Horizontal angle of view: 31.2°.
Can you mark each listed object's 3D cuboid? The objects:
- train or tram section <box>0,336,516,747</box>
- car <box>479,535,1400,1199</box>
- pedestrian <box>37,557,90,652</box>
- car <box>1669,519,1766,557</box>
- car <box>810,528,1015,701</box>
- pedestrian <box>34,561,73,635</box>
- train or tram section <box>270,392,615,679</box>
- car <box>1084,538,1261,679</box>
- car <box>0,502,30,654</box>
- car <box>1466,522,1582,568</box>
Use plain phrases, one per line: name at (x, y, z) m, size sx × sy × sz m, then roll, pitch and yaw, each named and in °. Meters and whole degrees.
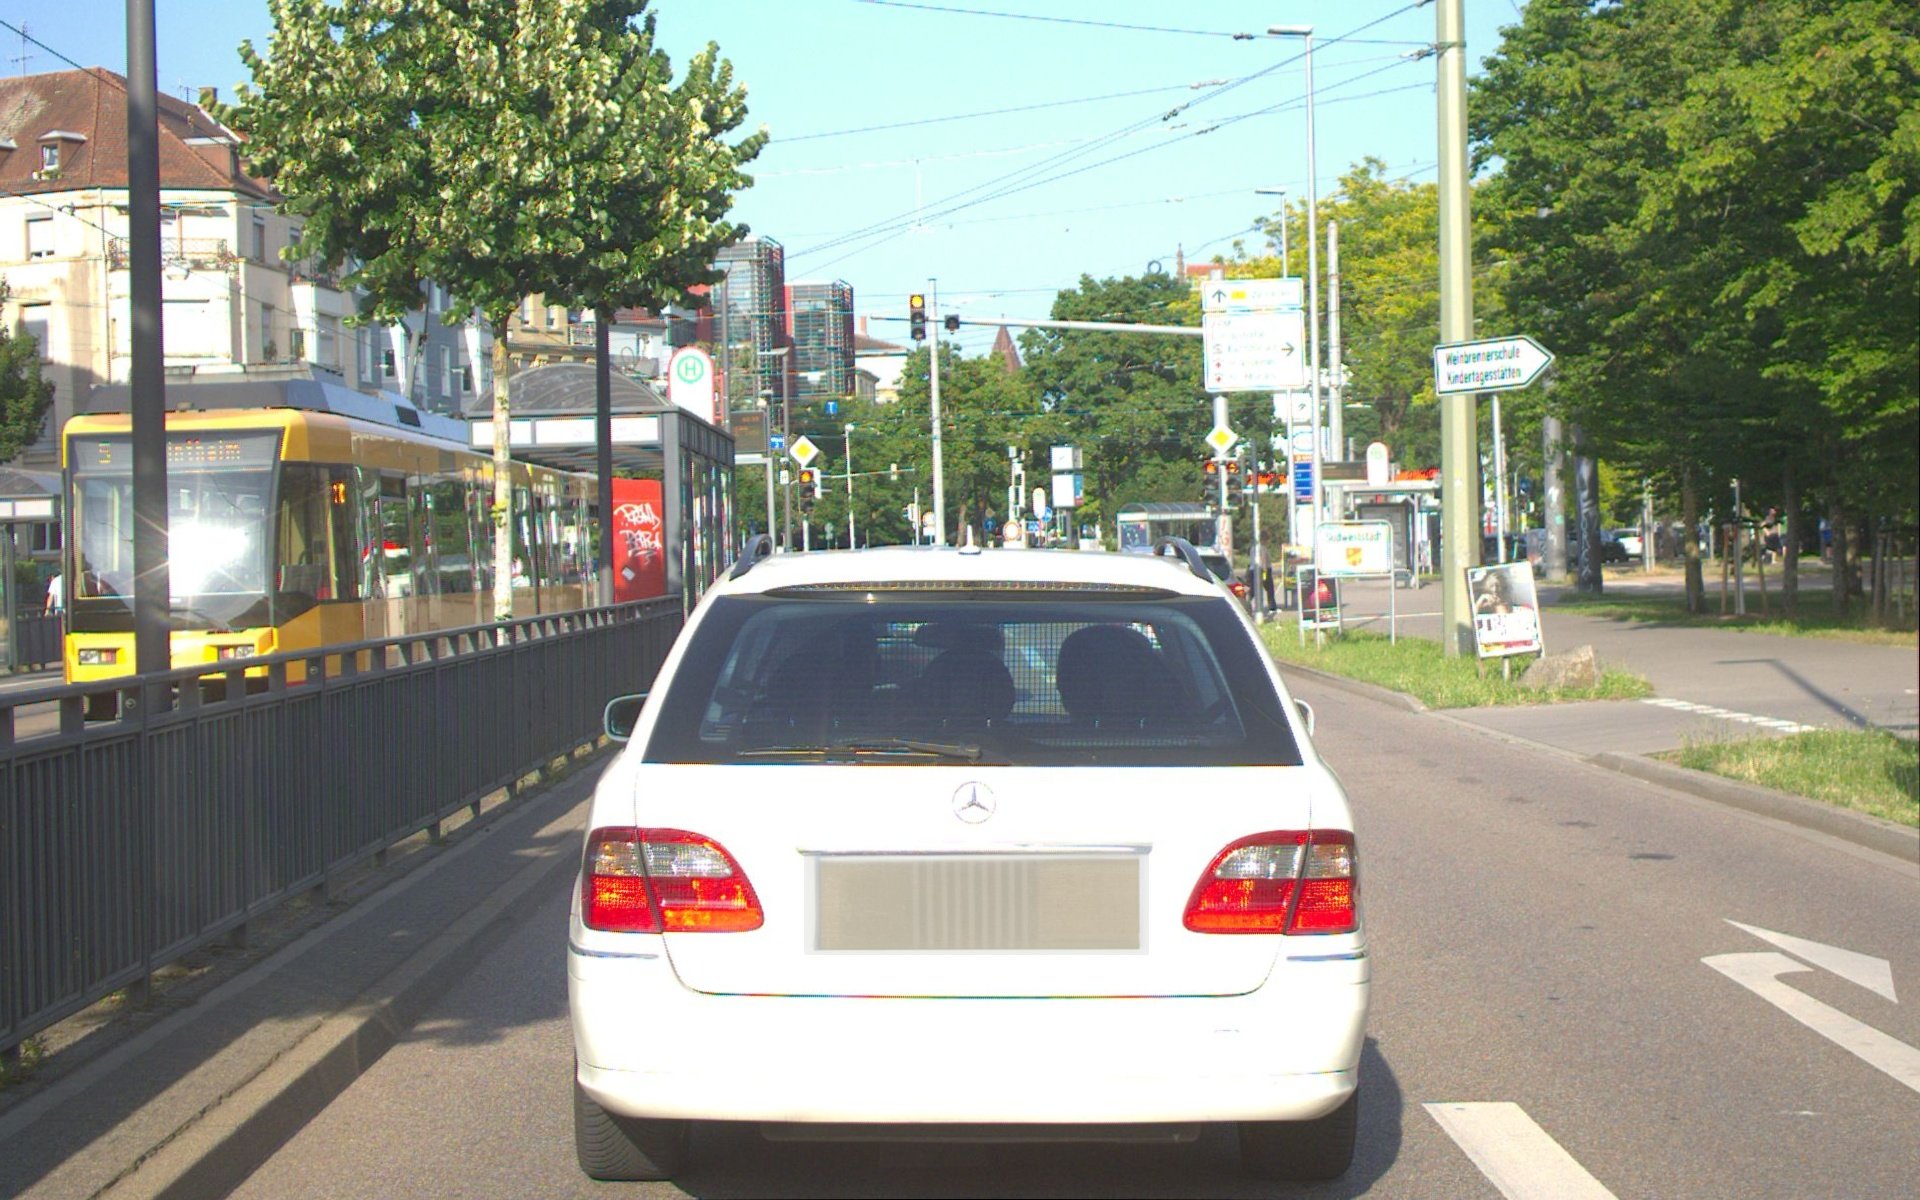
train or tram section at (-6.885, -0.652, 35.670) m, size 2.849 × 3.467 × 13.201 m, roll 0°, pitch 1°, yaw 0°
car at (-0.027, 0.618, 8.735) m, size 1.758 × 1.498 × 4.000 m, roll -2°, pitch 1°, yaw 0°
pedestrian at (-16.833, 0.078, 64.570) m, size 0.886 × 1.747 × 0.746 m, roll -1°, pitch 1°, yaw -11°
car at (35.321, -2.881, 160.301) m, size 3.986 × 1.645 × 2.000 m, roll -2°, pitch 1°, yaw -26°
car at (-0.439, 0.105, 35.882) m, size 1.787 × 1.684 × 4.000 m, roll -1°, pitch 1°, yaw 4°
pedestrian at (-21.560, -0.048, 81.805) m, size 0.665 × 1.747 × 0.746 m, roll -1°, pitch 1°, yaw 4°
train or tram section at (-6.970, -0.928, 48.509) m, size 2.849 × 3.467 × 13.200 m, roll -1°, pitch 1°, yaw 0°
car at (2.596, 0.060, 41.892) m, size 2.033 × 1.600 × 4.000 m, roll -1°, pitch 1°, yaw 4°
car at (-18.515, -0.340, 60.025) m, size 2.596 × 2.725 × 7.469 m, roll -1°, pitch 1°, yaw -1°
car at (21.792, -2.115, 132.858) m, size 3.992 × 1.645 × 1.997 m, roll -1°, pitch 1°, yaw 26°
